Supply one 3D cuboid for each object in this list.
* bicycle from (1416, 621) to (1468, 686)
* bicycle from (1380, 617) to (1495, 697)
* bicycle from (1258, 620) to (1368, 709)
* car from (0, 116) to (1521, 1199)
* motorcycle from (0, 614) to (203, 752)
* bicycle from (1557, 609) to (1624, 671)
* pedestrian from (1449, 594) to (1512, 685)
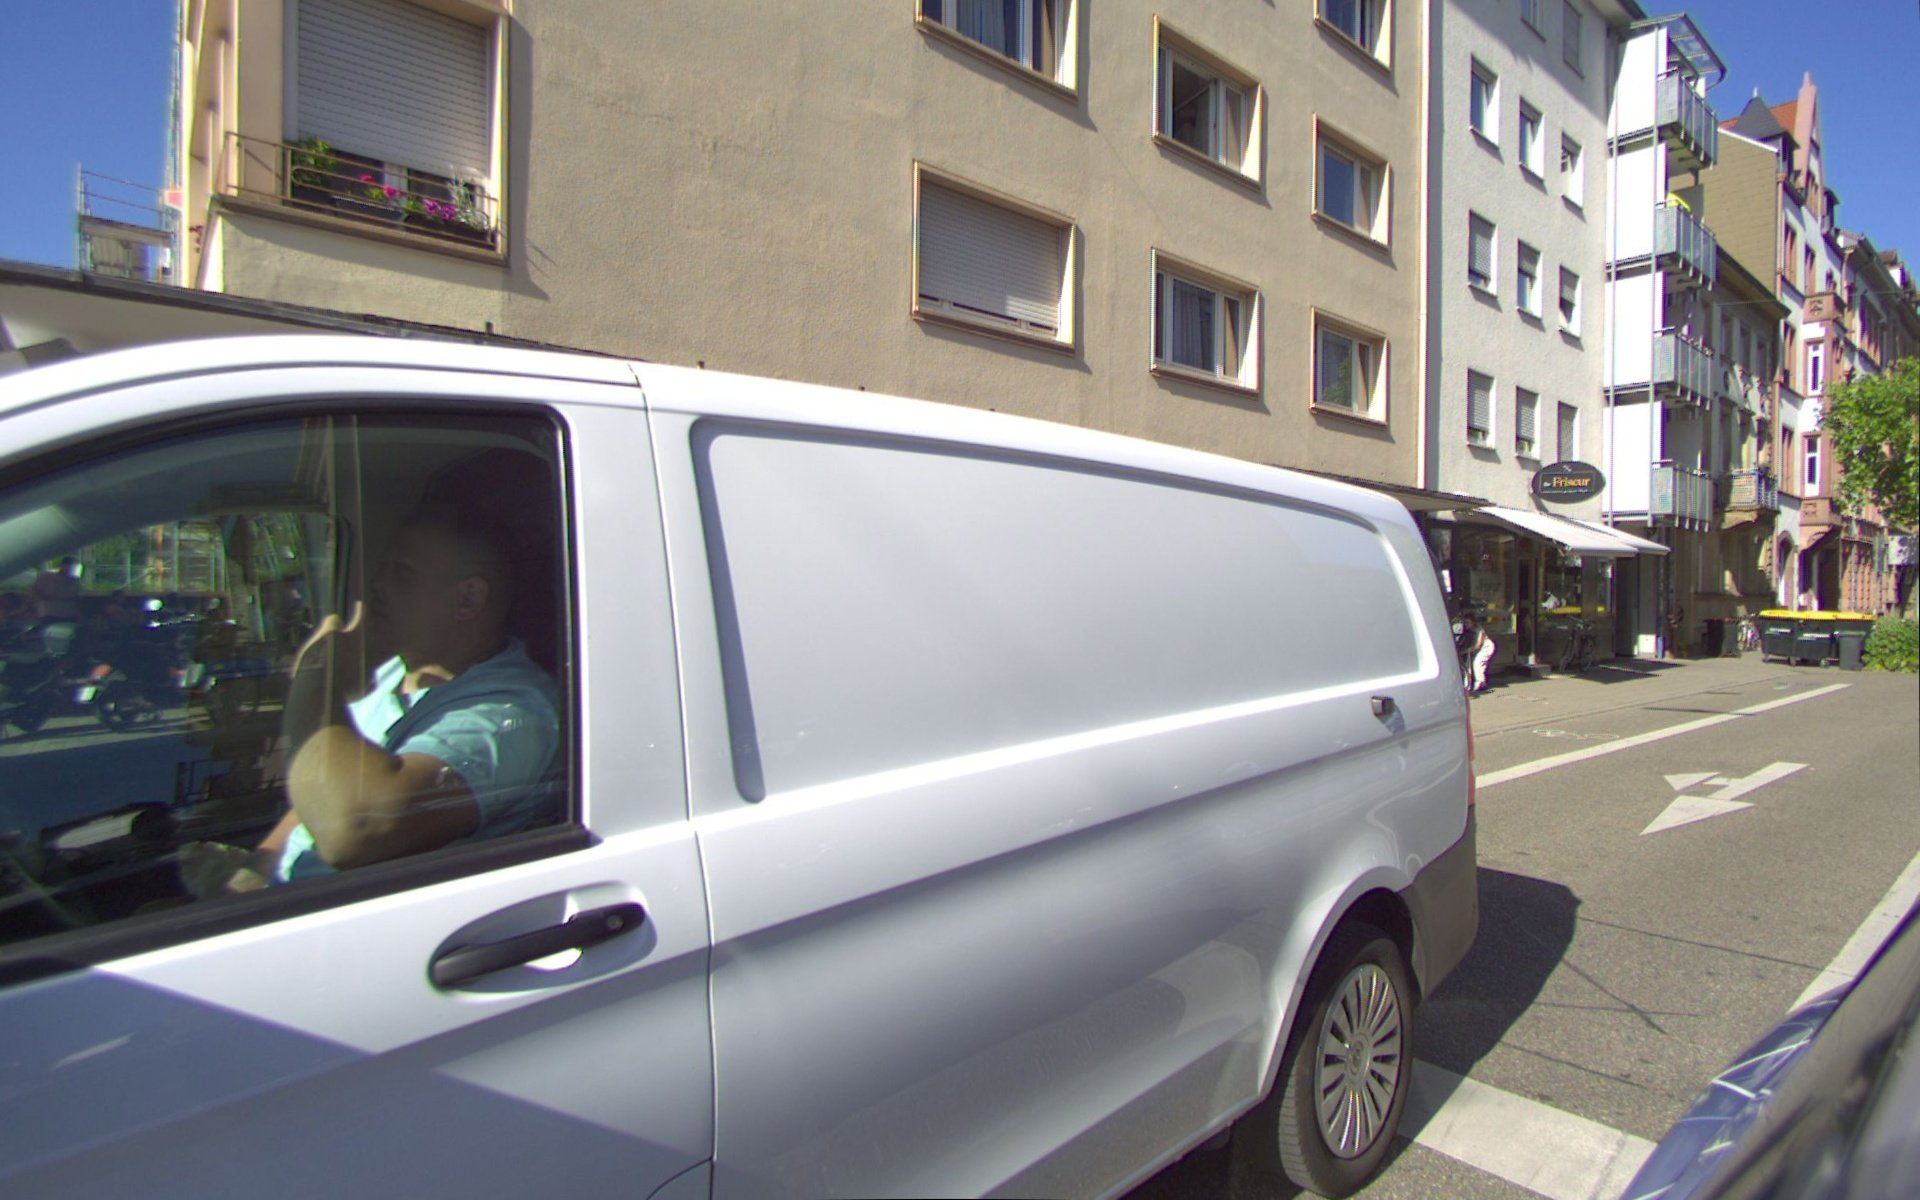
[{"bbox_3d":[7.912,0.861,16.602,1.155,0.995,0.375,0,0,-43],"label":"bicycle"},{"bbox_3d":[7.254,0.849,15.439,1.475,1.120,0.719,1,0,18],"label":"bicycle"},{"bbox_3d":[4.765,0.836,13.604,1.766,1.098,0.408,1,3,-35],"label":"bicycle"},{"bbox_3d":[-0.800,0.522,2.072,4.749,1.833,1.971,0,1,-42],"label":"car"},{"bbox_3d":[-8.536,0.758,10.083,0.556,1.181,2.015,1,0,-3],"label":"motorcycle"},{"bbox_3d":[12.771,0.780,20.493,1.742,1.157,0.598,0,3,-40],"label":"bicycle"},{"bbox_3d":[8.612,0.634,16.757,0.615,1.460,0.774,0,0,-45],"label":"pedestrian"}]
